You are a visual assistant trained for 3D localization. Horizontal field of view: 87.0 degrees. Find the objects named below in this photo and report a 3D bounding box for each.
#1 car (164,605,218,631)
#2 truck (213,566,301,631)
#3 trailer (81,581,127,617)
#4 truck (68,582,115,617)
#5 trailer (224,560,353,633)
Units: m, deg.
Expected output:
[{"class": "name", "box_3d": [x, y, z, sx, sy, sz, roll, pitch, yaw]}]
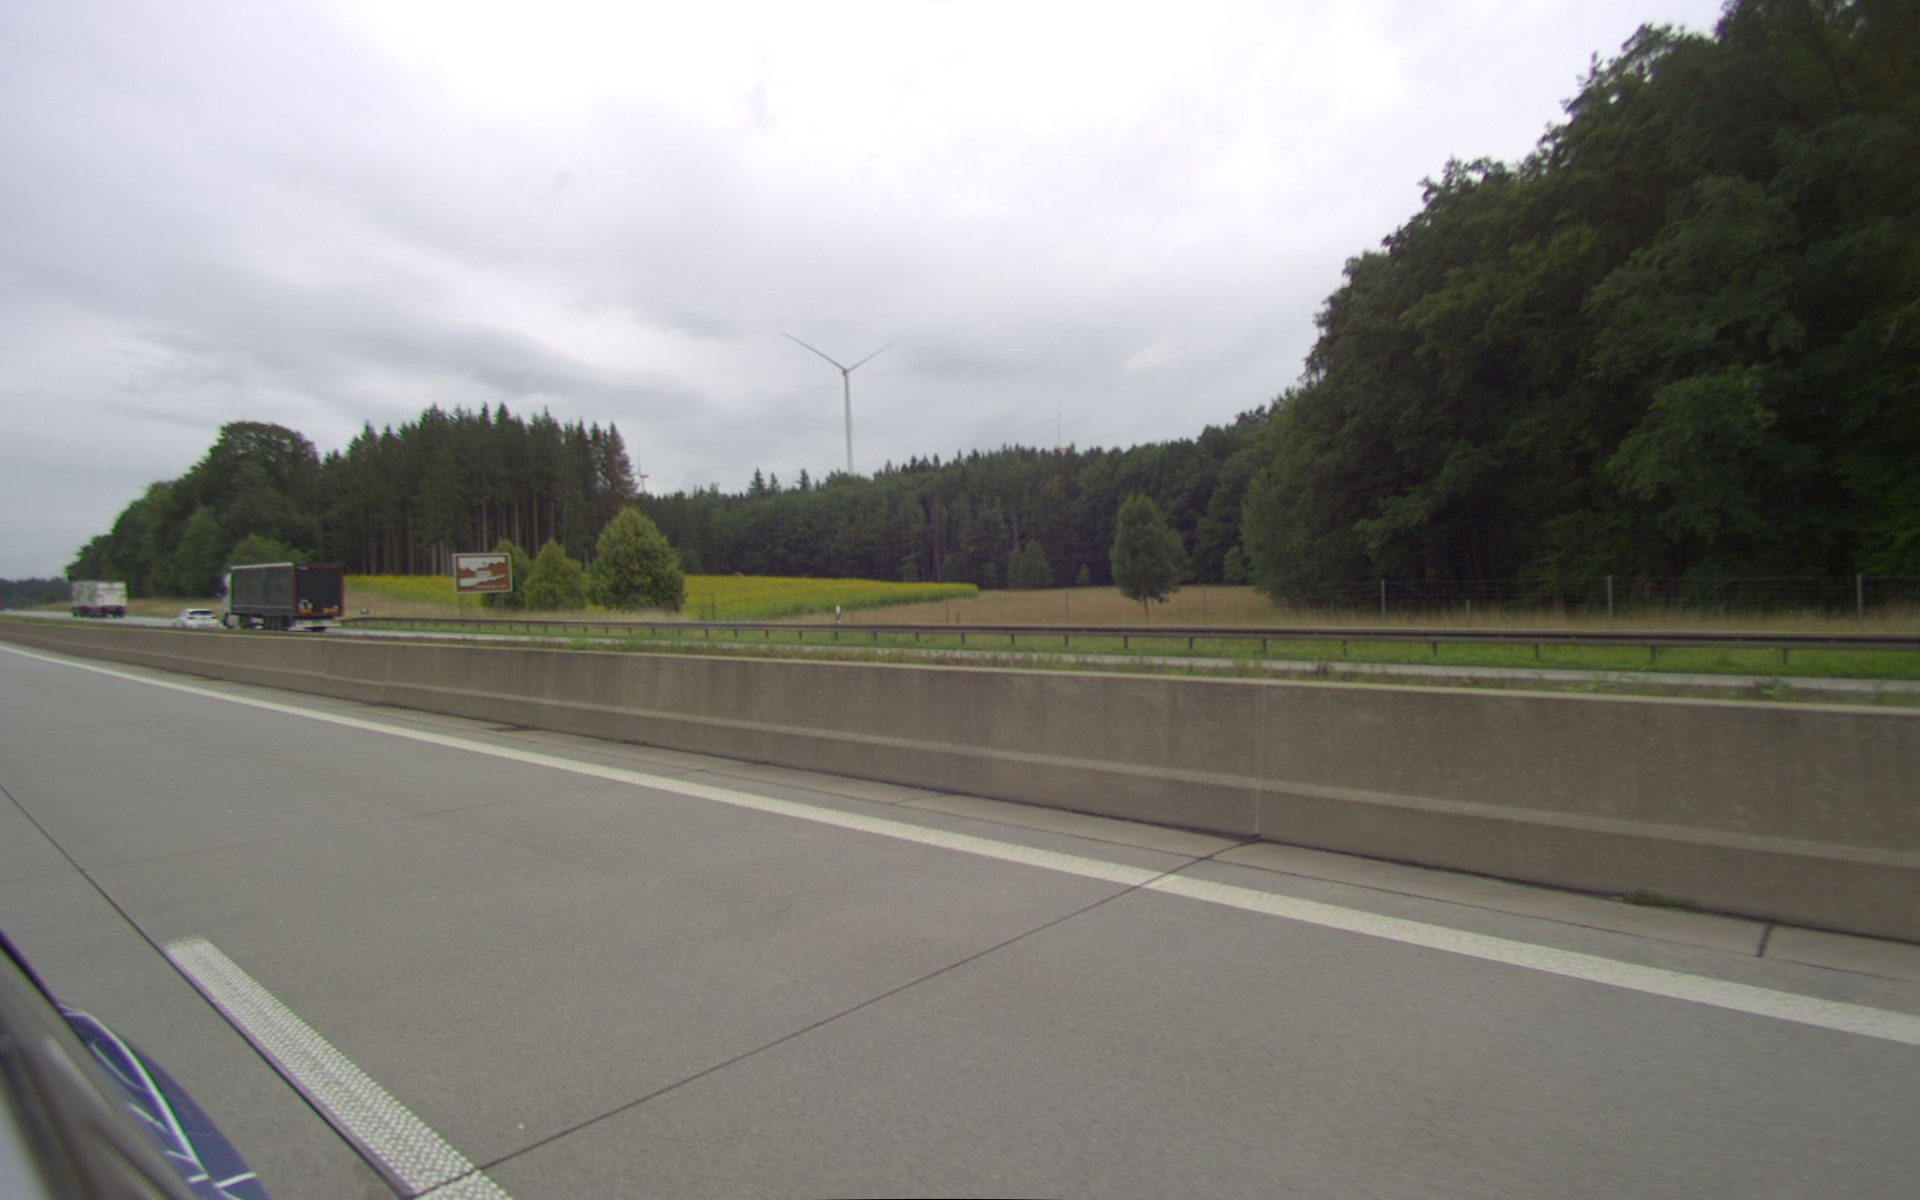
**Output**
[{"class": "car", "box_3d": [-46.392, 1.099, 61.046, 4.369, 1.479, 1.765, -2, -1, 41]}, {"class": "truck", "box_3d": [-46.606, -0.060, 67.033, 7.163, 4.088, 3.179, -1, 0, 41]}, {"class": "trailer", "box_3d": [-92.804, -0.097, 109.699, 7.715, 3.811, 2.788, -1, 0, 43]}, {"class": "truck", "box_3d": [-99.769, -0.034, 116.188, 11.350, 3.801, 2.782, 0, 1, 43]}, {"class": "trailer", "box_3d": [-41.967, -0.136, 62.916, 14.125, 4.083, 3.201, -1, 0, 42]}]
